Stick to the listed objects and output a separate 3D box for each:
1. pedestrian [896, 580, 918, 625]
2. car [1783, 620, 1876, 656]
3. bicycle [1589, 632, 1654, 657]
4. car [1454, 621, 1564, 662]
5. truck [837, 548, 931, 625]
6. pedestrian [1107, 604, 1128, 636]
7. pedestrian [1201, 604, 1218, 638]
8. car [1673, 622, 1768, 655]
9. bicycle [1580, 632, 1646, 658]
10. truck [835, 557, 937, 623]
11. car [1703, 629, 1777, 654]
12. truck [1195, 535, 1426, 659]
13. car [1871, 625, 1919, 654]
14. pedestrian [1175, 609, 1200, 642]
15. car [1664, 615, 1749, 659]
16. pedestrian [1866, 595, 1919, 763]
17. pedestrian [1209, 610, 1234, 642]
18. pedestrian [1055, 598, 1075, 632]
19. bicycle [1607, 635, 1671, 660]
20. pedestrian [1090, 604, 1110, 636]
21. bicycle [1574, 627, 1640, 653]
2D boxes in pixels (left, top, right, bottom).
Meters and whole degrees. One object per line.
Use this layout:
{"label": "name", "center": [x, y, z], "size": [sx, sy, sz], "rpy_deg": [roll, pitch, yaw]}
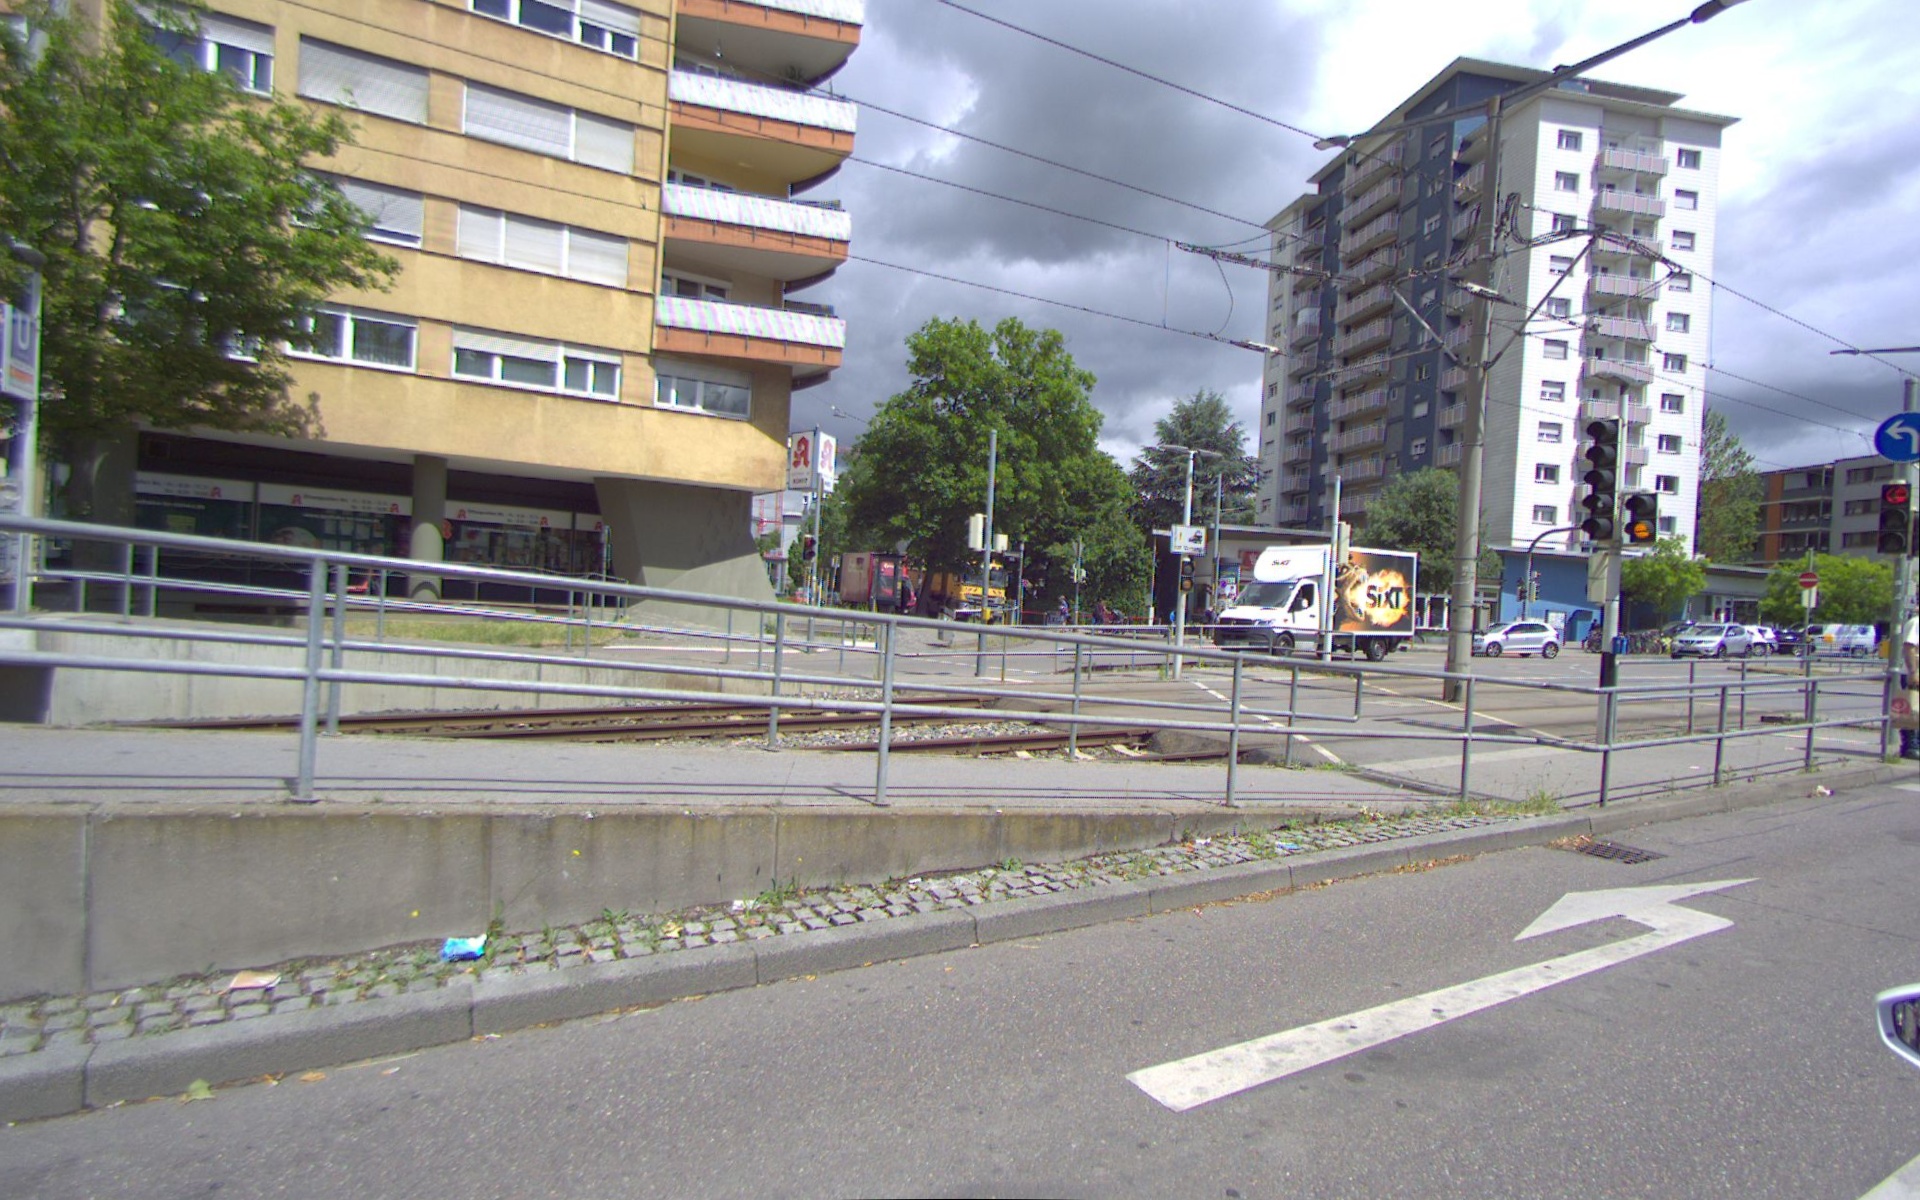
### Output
{"label": "pedestrian", "center": [-2.148, 0.091, 40.885], "size": [0.653, 1.799, 0.655], "rpy_deg": [1, 1, -23]}
{"label": "car", "center": [52.417, 2.263, 60.607], "size": [3.846, 2.001, 1.657], "rpy_deg": [1, 0, 19]}
{"label": "bicycle", "center": [31.383, 2.110, 47.666], "size": [2.521, 1.022, 0.754], "rpy_deg": [3, 0, 33]}
{"label": "car", "center": [21.929, 1.645, 40.186], "size": [3.704, 1.480, 1.410], "rpy_deg": [1, 0, -6]}
{"label": "truck", "center": [-4.062, -0.674, 51.788], "size": [2.191, 3.688, 7.124], "rpy_deg": [1, 0, -27]}
{"label": "pedestrian", "center": [6.982, 0.881, 44.541], "size": [0.669, 1.394, 0.536], "rpy_deg": [1, 1, -30]}
{"label": "pedestrian", "center": [12.754, 1.077, 51.356], "size": [0.708, 1.693, 0.365], "rpy_deg": [1, 1, -27]}
{"label": "car", "center": [42.234, 2.121, 55.855], "size": [3.845, 1.669, 1.657], "rpy_deg": [1, 0, 16]}
{"label": "bicycle", "center": [30.515, 2.096, 46.982], "size": [2.521, 1.022, 0.754], "rpy_deg": [3, 0, 33]}
{"label": "truck", "center": [-2.897, -0.376, 38.296], "size": [2.322, 2.321, 4.261], "rpy_deg": [1, 1, -28]}
{"label": "car", "center": [44.823, 2.373, 57.807], "size": [3.047, 1.298, 1.468], "rpy_deg": [1, 0, 23]}
{"label": "truck", "center": [10.081, -0.031, 28.543], "size": [7.241, 3.159, 2.267], "rpy_deg": [1, 0, -34]}
{"label": "car", "center": [52.975, 2.206, 56.433], "size": [3.827, 1.554, 1.643], "rpy_deg": [1, 0, -31]}
{"label": "pedestrian", "center": [10.782, 1.210, 47.668], "size": [0.906, 1.530, 0.746], "rpy_deg": [1, 0, -8]}
{"label": "car", "center": [32.074, 1.578, 43.138], "size": [3.731, 1.780, 1.583], "rpy_deg": [1, 0, -31]}
{"label": "pedestrian", "center": [10.280, 0.835, 10.751], "size": [0.679, 1.757, 0.684], "rpy_deg": [1, 0, -29]}
{"label": "pedestrian", "center": [12.523, 1.237, 48.145], "size": [0.906, 1.530, 0.746], "rpy_deg": [1, 0, -8]}
{"label": "pedestrian", "center": [4.665, 0.673, 44.564], "size": [0.656, 1.487, 0.555], "rpy_deg": [1, 0, -32]}
{"label": "bicycle", "center": [33.016, 2.294, 48.898], "size": [2.521, 1.022, 0.754], "rpy_deg": [3, 0, 33]}
{"label": "pedestrian", "center": [6.156, 0.861, 44.108], "size": [0.669, 1.394, 0.473], "rpy_deg": [1, 1, -31]}
{"label": "bicycle", "center": [29.792, 1.819, 46.278], "size": [2.521, 1.022, 0.754], "rpy_deg": [3, 0, 33]}
